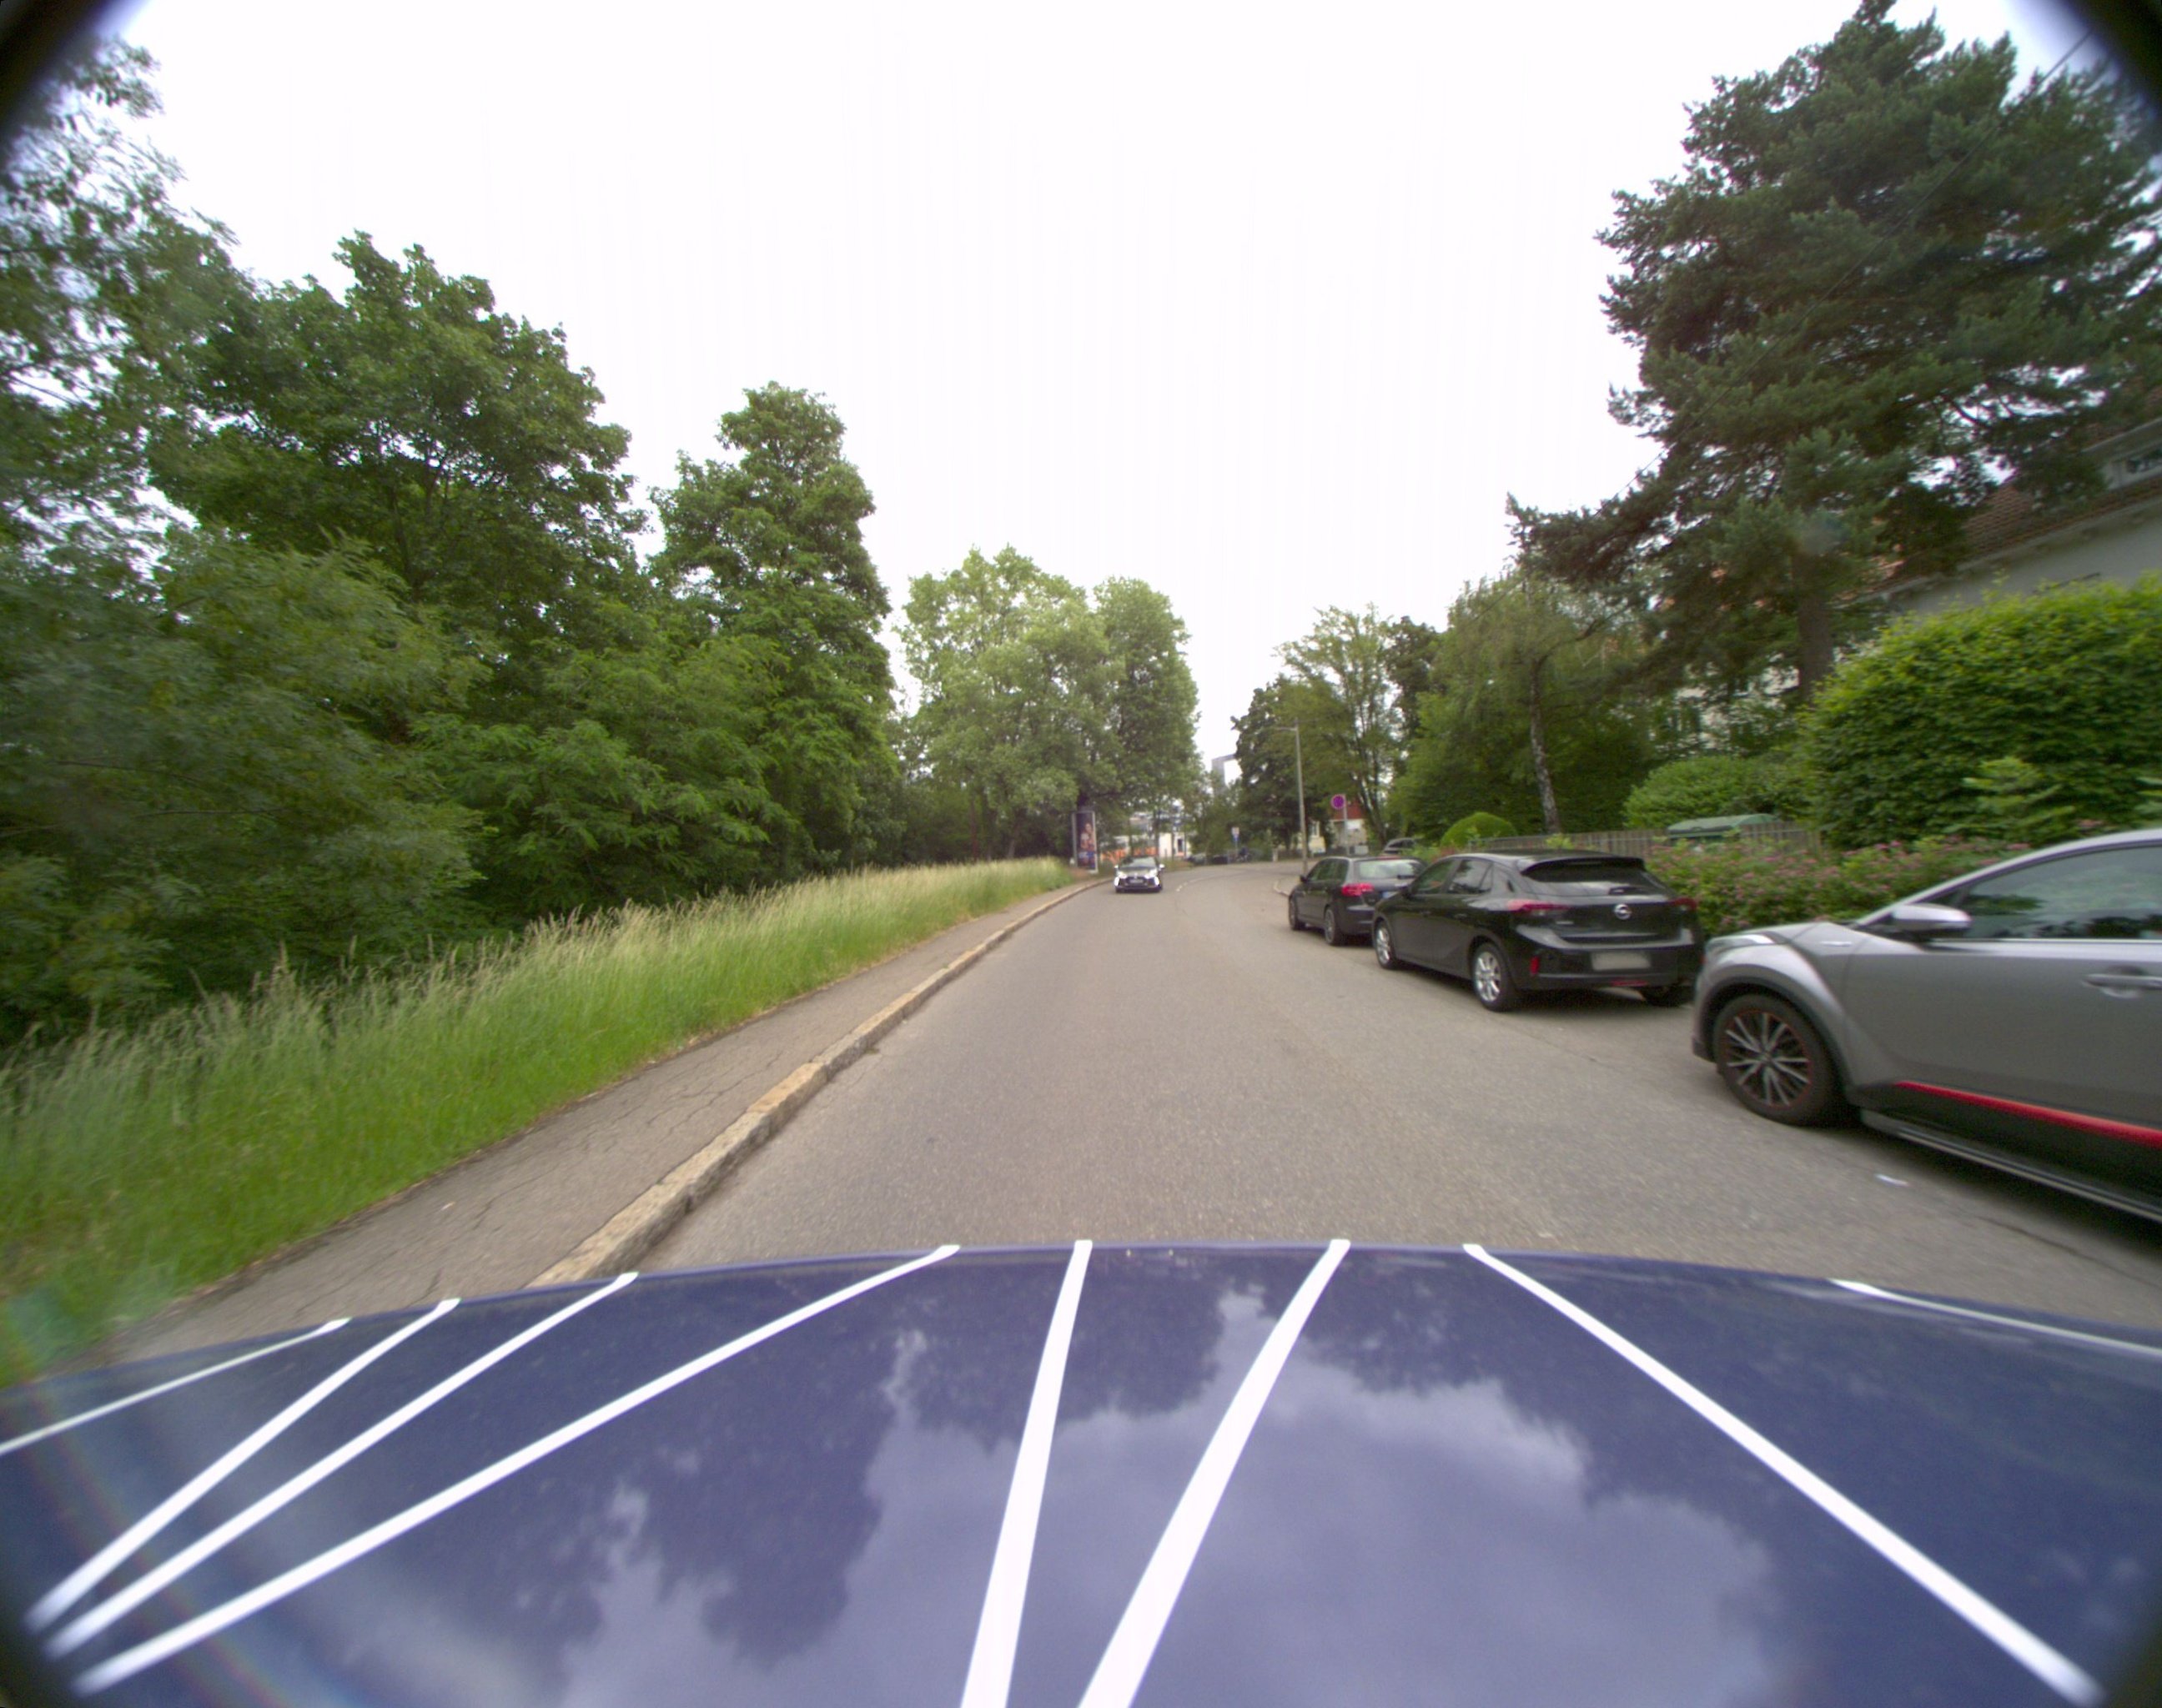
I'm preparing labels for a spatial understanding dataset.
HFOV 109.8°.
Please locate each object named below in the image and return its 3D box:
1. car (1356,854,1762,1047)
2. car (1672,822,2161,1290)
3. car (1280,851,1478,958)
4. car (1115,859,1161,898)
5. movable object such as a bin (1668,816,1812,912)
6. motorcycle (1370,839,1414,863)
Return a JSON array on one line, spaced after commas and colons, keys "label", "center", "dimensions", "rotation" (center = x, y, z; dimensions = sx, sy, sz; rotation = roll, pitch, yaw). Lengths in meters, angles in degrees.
[{"label": "car", "center": [4.489, 0.753, 8.062], "dimensions": [1.653, 1.433, 4.333], "rotation": [-2, 0, 2]}, {"label": "car", "center": [4.363, 0.637, 2.417], "dimensions": [1.765, 1.471, 4.127], "rotation": [-3, 0, 1]}, {"label": "car", "center": [4.807, 0.750, 13.010], "dimensions": [1.739, 1.410, 4.505], "rotation": [-4, -1, 3]}, {"label": "car", "center": [2.326, 0.925, 30.257], "dimensions": [1.645, 1.390, 3.783], "rotation": [-2, 0, 6]}, {"label": "movable object such as a bin", "center": [11.007, 0.159, 12.764], "dimensions": [1.096, 1.458, 1.453], "rotation": [-3, 0, 0]}, {"label": "motorcycle", "center": [17.284, -0.144, 42.285], "dimensions": [2.067, 1.145, 0.864], "rotation": [-5, 1, -13]}]
